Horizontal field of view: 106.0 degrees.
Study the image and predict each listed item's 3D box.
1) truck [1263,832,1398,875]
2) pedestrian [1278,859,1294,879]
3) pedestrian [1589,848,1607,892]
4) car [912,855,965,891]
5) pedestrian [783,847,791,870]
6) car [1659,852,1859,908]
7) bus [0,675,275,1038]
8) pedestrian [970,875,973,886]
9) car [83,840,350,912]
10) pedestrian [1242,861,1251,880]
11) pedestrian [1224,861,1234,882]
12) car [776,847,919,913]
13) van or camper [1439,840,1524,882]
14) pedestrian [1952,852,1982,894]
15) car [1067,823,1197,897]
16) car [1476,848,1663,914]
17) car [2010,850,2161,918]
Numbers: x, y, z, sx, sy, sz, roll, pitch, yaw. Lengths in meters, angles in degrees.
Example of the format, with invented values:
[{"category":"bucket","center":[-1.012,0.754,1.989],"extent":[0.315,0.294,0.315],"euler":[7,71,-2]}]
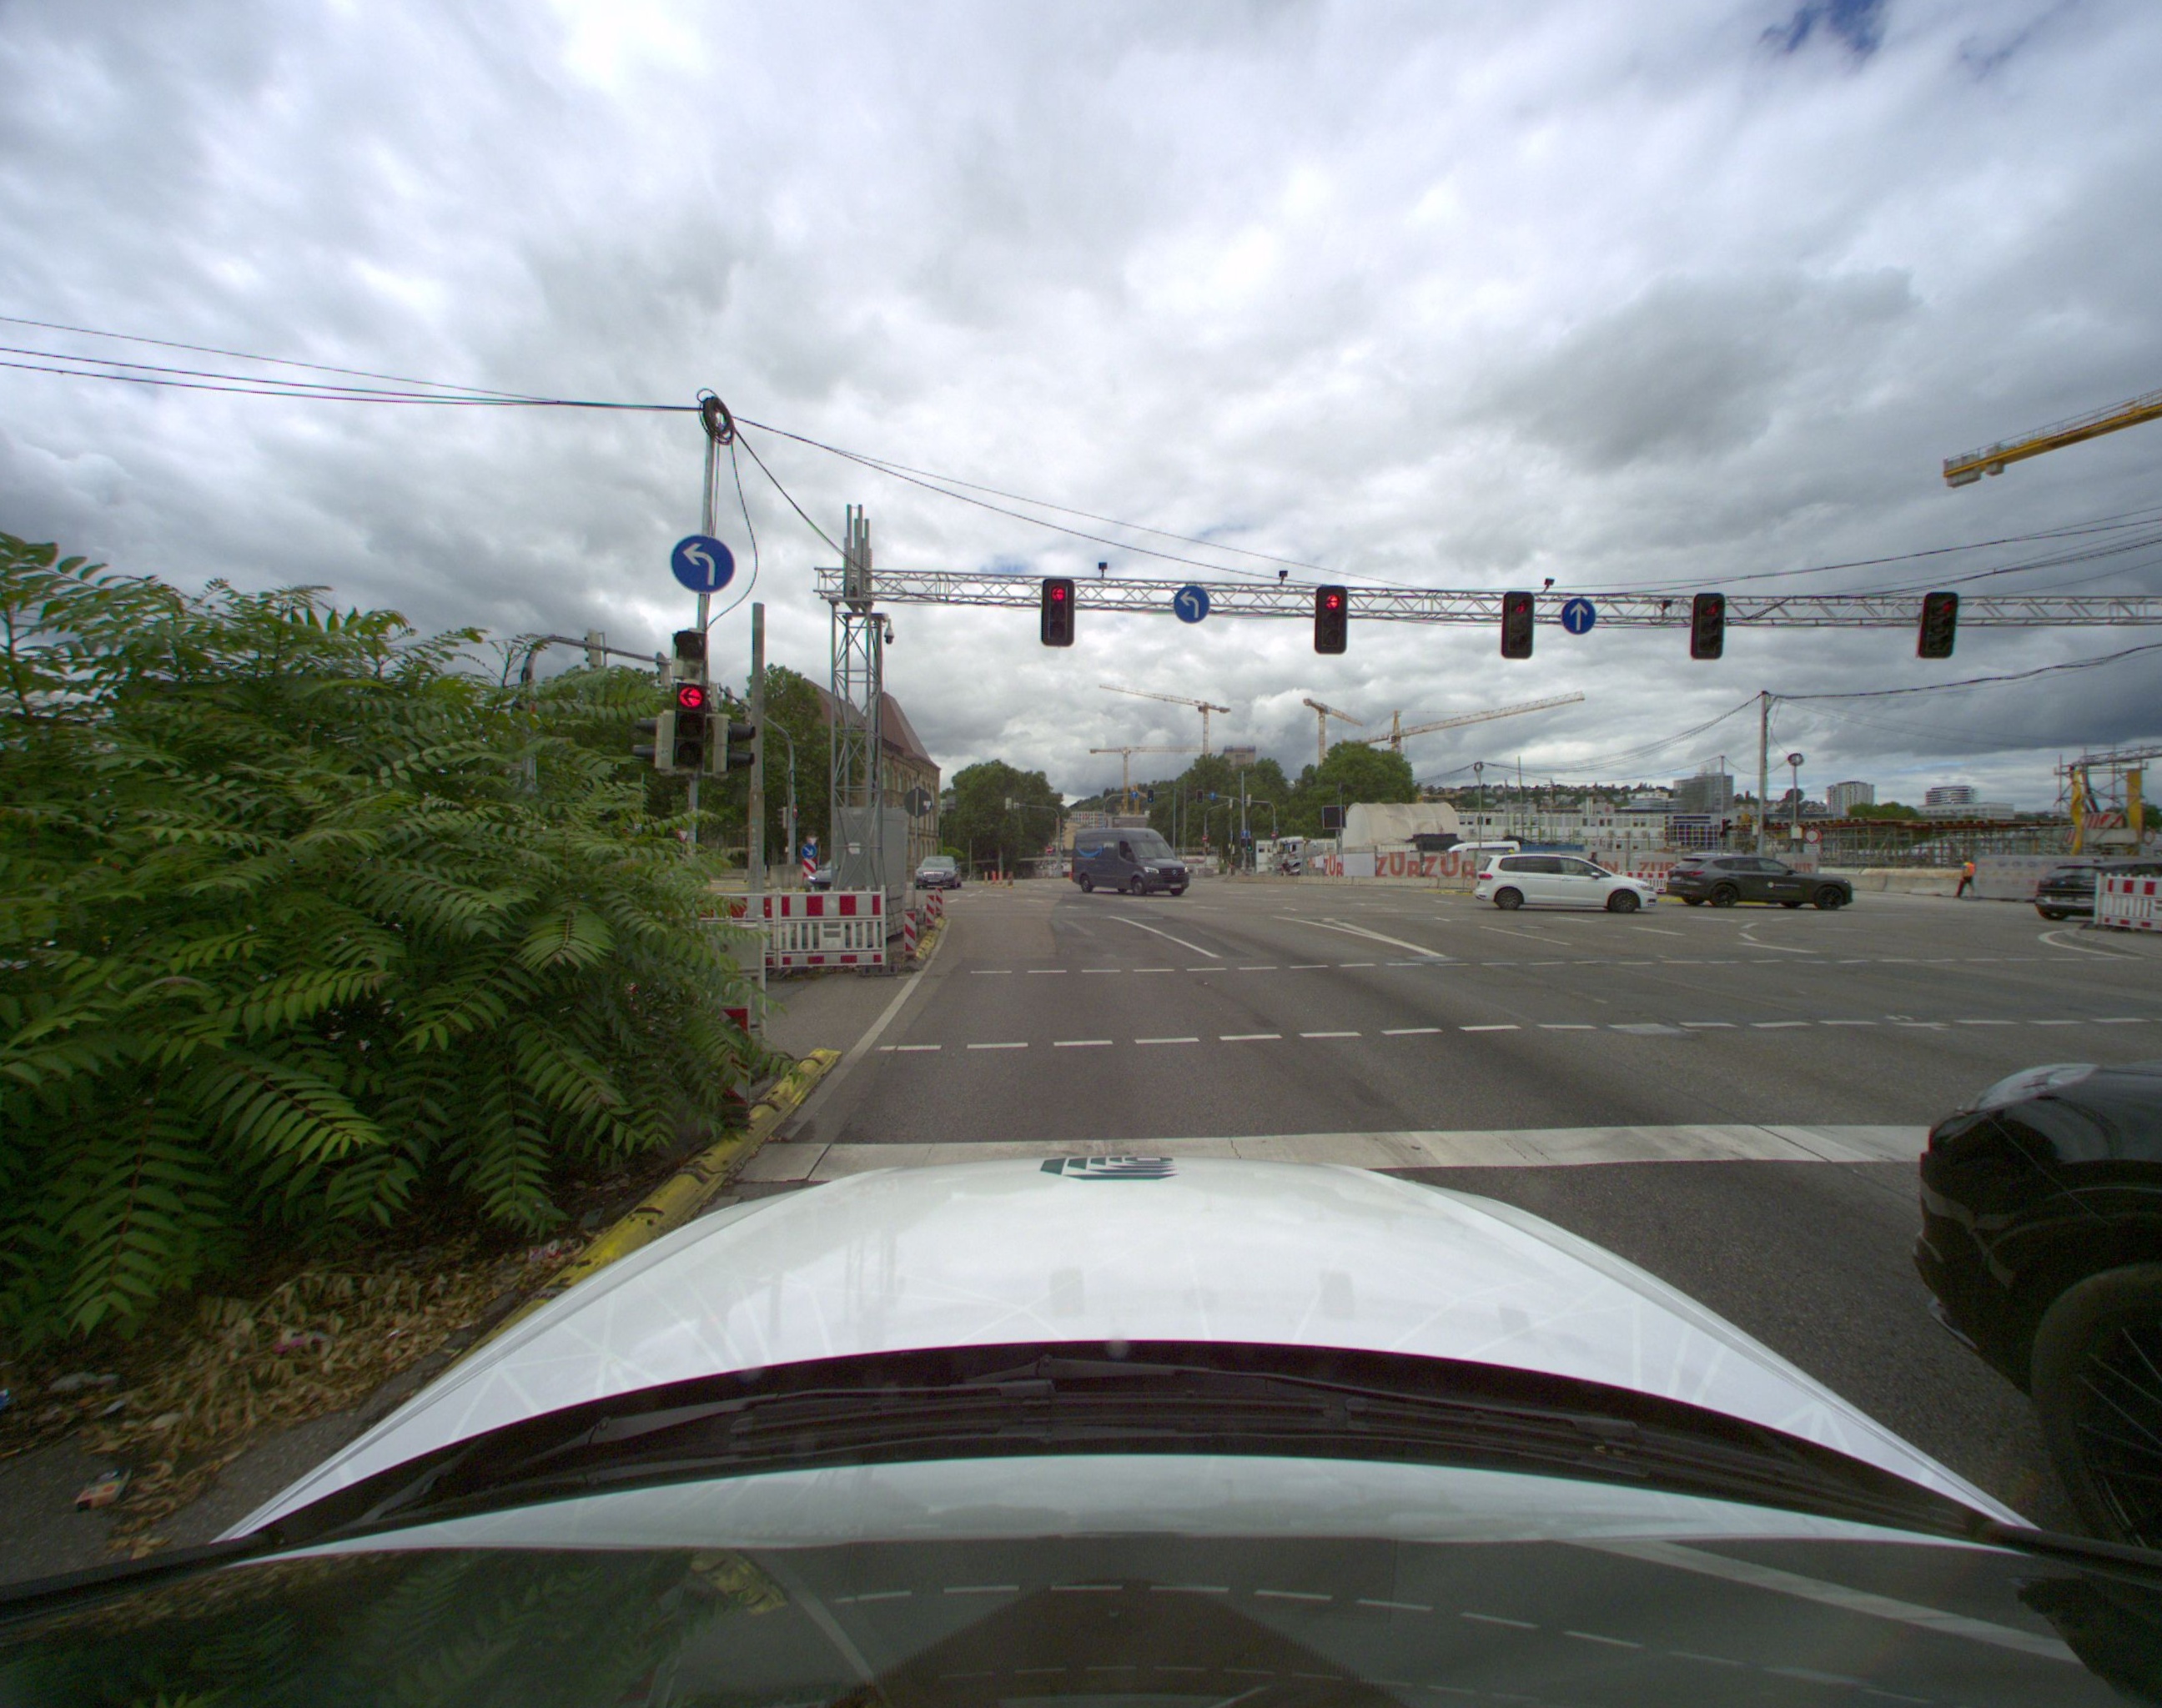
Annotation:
[{"category":"truck","center":[25.023,-0.045,81.582],"extent":[13.062,4.041,3.926],"euler":[0,0,-18]},{"category":"pedestrian","center":[14.469,1.036,57.443],"extent":[0.796,1.378,0.902],"euler":[0,0,-10]},{"category":"pedestrian","center":[23.643,0.720,37.245],"extent":[0.645,2.013,0.520],"euler":[0,0,27]},{"category":"car","center":[-6.321,0.818,36.452],"extent":[1.702,1.513,4.286],"euler":[0,0,-1]},{"category":"pedestrian","center":[-26.748,0.407,74.120],"extent":[0.530,2.014,0.423],"euler":[1,-1,-42]},{"category":"car","center":[21.394,0.774,25.891],"extent":[4.565,1.670,1.890],"euler":[0,0,10]},{"category":"bus","center":[-10.831,0.023,4.757],"extent":[2.834,3.114,9.129],"euler":[0,0,3]},{"category":"pedestrian","center":[-21.464,5.165,159.237],"extent":[0.522,2.014,0.567],"euler":[0,0,2]},{"category":"car","center":[-21.308,0.522,20.246],"extent":[4.302,1.676,1.998],"euler":[0,0,-3]},{"category":"pedestrian","center":[14.851,1.508,73.035],"extent":[0.615,1.689,0.716],"euler":[0,0,31]},{"category":"pedestrian","center":[12.237,1.463,67.340],"extent":[0.726,1.689,0.678],"euler":[0,0,1]},{"category":"car","center":[-6.425,0.652,23.019],"extent":[1.864,1.670,4.462],"euler":[0,0,14]},{"category":"van or camper","center":[23.138,0.411,47.196],"extent":[4.181,2.357,2.009],"euler":[0,0,16]},{"category":"pedestrian","center":[38.519,0.805,35.409],"extent":[0.651,1.795,0.617],"euler":[0,0,-7]},{"category":"car","center":[1.830,0.197,31.770],"extent":[2.070,2.594,5.955],"euler":[0,0,-31]},{"category":"car","center":[13.655,0.693,23.084],"extent":[4.389,1.736,1.895],"euler":[0,0,26]},{"category":"car","center":[26.832,0.734,20.844],"extent":[4.037,1.668,1.801],"euler":[0,0,2]}]
